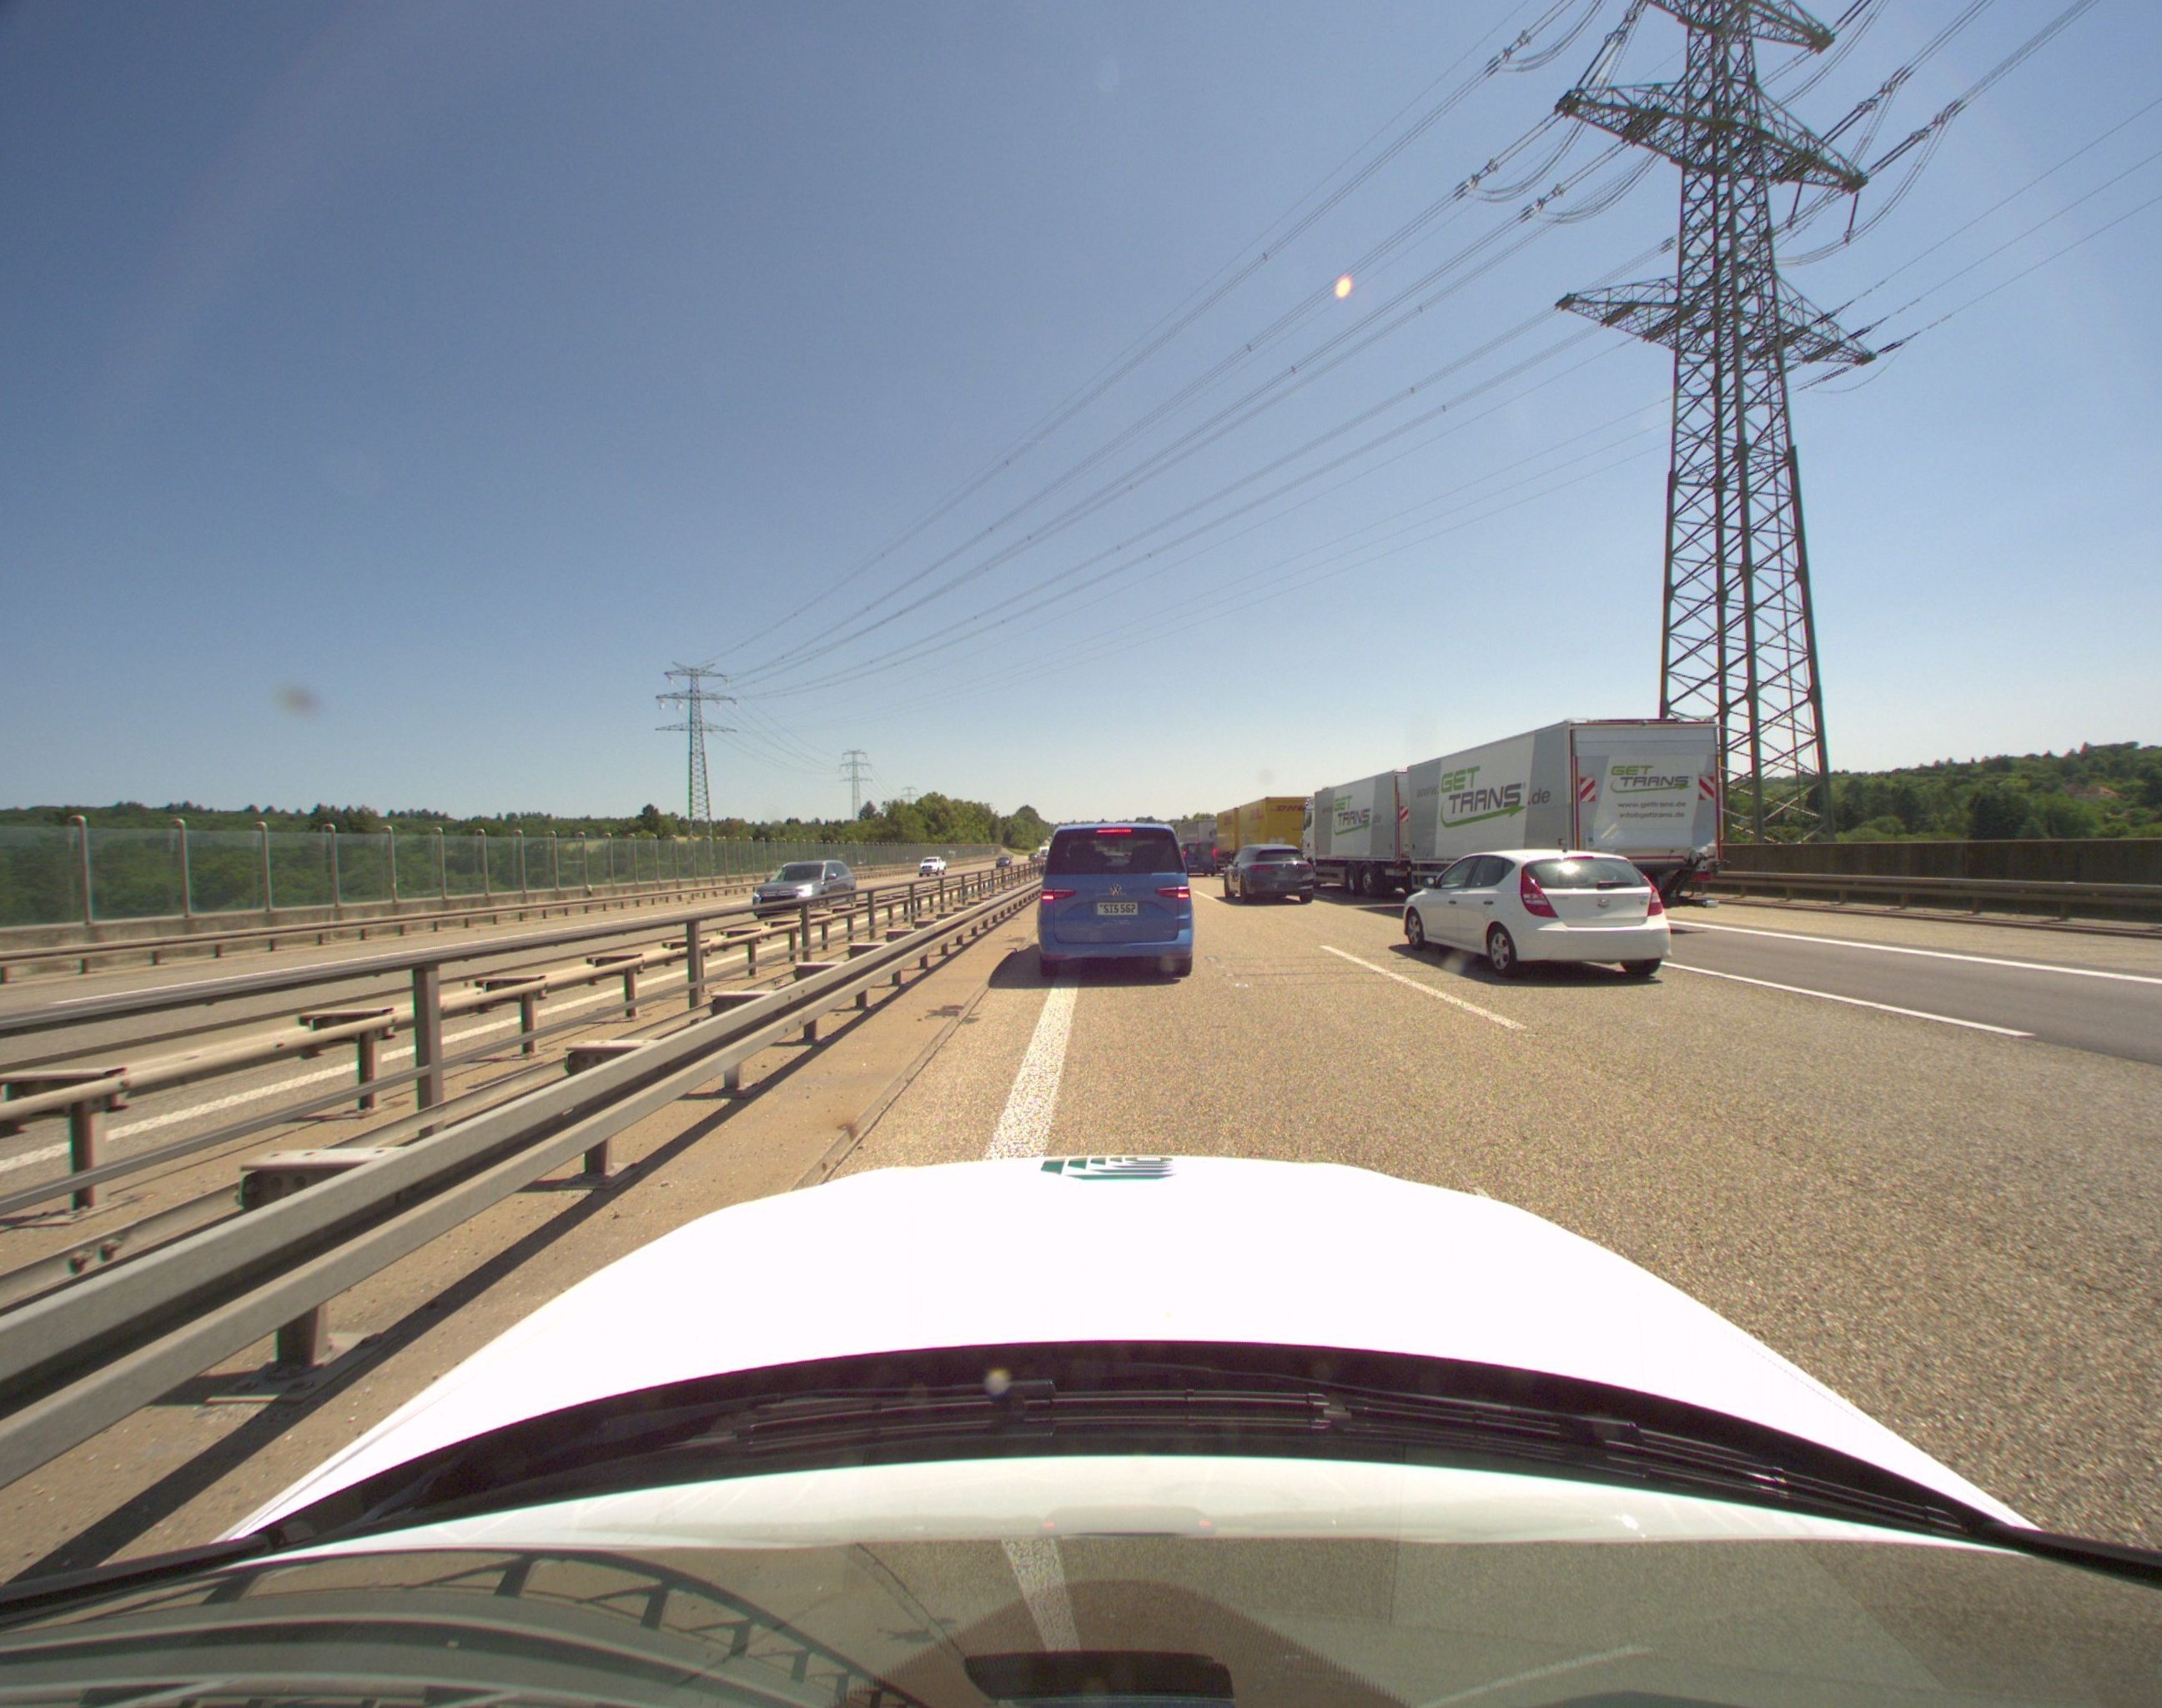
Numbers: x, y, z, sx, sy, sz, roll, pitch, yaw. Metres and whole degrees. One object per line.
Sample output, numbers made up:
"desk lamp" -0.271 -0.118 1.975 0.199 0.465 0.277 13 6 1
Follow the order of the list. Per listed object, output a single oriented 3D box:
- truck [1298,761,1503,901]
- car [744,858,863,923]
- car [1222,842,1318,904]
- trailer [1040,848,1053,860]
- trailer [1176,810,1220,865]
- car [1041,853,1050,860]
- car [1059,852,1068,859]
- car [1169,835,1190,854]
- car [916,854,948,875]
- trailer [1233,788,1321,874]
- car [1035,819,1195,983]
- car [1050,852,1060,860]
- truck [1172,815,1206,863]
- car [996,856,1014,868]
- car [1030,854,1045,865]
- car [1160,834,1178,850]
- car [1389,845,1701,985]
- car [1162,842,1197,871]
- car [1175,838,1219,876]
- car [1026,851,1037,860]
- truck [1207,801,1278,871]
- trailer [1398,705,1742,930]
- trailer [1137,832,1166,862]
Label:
"truck" 9.959 -0.631 27.143 2.647 3.647 11.013 -1 0 1
"car" -8.000 0.992 23.946 1.799 1.627 4.479 -2 0 1
"car" 5.545 0.505 24.447 1.955 1.644 4.294 -1 0 1
"trailer" -8.296 -0.012 197.495 2.484 2.549 6.776 -3 0 2
"trailer" 10.386 -1.378 73.291 2.627 4.516 11.305 -1 0 2
"car" -8.418 0.536 191.727 1.769 1.407 4.684 -4 0 2
"car" -4.106 0.307 189.877 1.662 1.448 4.003 -5 0 3
"car" 10.927 -1.042 90.890 1.986 2.013 4.001 -1 0 2
"car" -14.445 0.984 79.098 1.986 1.885 5.257 -1 0 1
"trailer" 10.556 -1.110 44.908 2.854 4.239 9.014 -1 0 2
"car" 0.451 0.532 11.340 1.813 1.857 4.076 -1 0 2
"car" -5.481 0.379 171.299 1.784 1.478 3.990 -2 0 2
"truck" 10.604 -1.421 80.625 2.657 4.484 6.852 -1 0 2
"car" -9.482 0.990 101.881 1.592 1.350 4.181 -4 0 1
"car" -5.853 0.717 108.931 1.592 1.317 4.342 -4 0 1
"car" 11.675 -1.567 108.365 1.986 2.013 4.463 -2 0 2
"car" 5.763 0.642 10.843 1.782 1.455 4.294 -1 0 1
"car" 6.664 0.149 55.642 1.986 1.816 4.002 -1 0 2
"car" 6.584 0.142 46.530 1.955 1.993 4.294 -1 0 1
"car" -9.403 0.222 154.945 1.723 1.491 4.420 -4 0 1
"truck" 10.651 -1.082 54.972 2.826 4.242 11.013 -1 0 1
"trailer" 9.742 -0.629 17.631 2.688 3.700 8.016 -1 0 1
"trailer" 7.325 -0.683 85.772 2.560 2.990 10.667 -1 0 2
